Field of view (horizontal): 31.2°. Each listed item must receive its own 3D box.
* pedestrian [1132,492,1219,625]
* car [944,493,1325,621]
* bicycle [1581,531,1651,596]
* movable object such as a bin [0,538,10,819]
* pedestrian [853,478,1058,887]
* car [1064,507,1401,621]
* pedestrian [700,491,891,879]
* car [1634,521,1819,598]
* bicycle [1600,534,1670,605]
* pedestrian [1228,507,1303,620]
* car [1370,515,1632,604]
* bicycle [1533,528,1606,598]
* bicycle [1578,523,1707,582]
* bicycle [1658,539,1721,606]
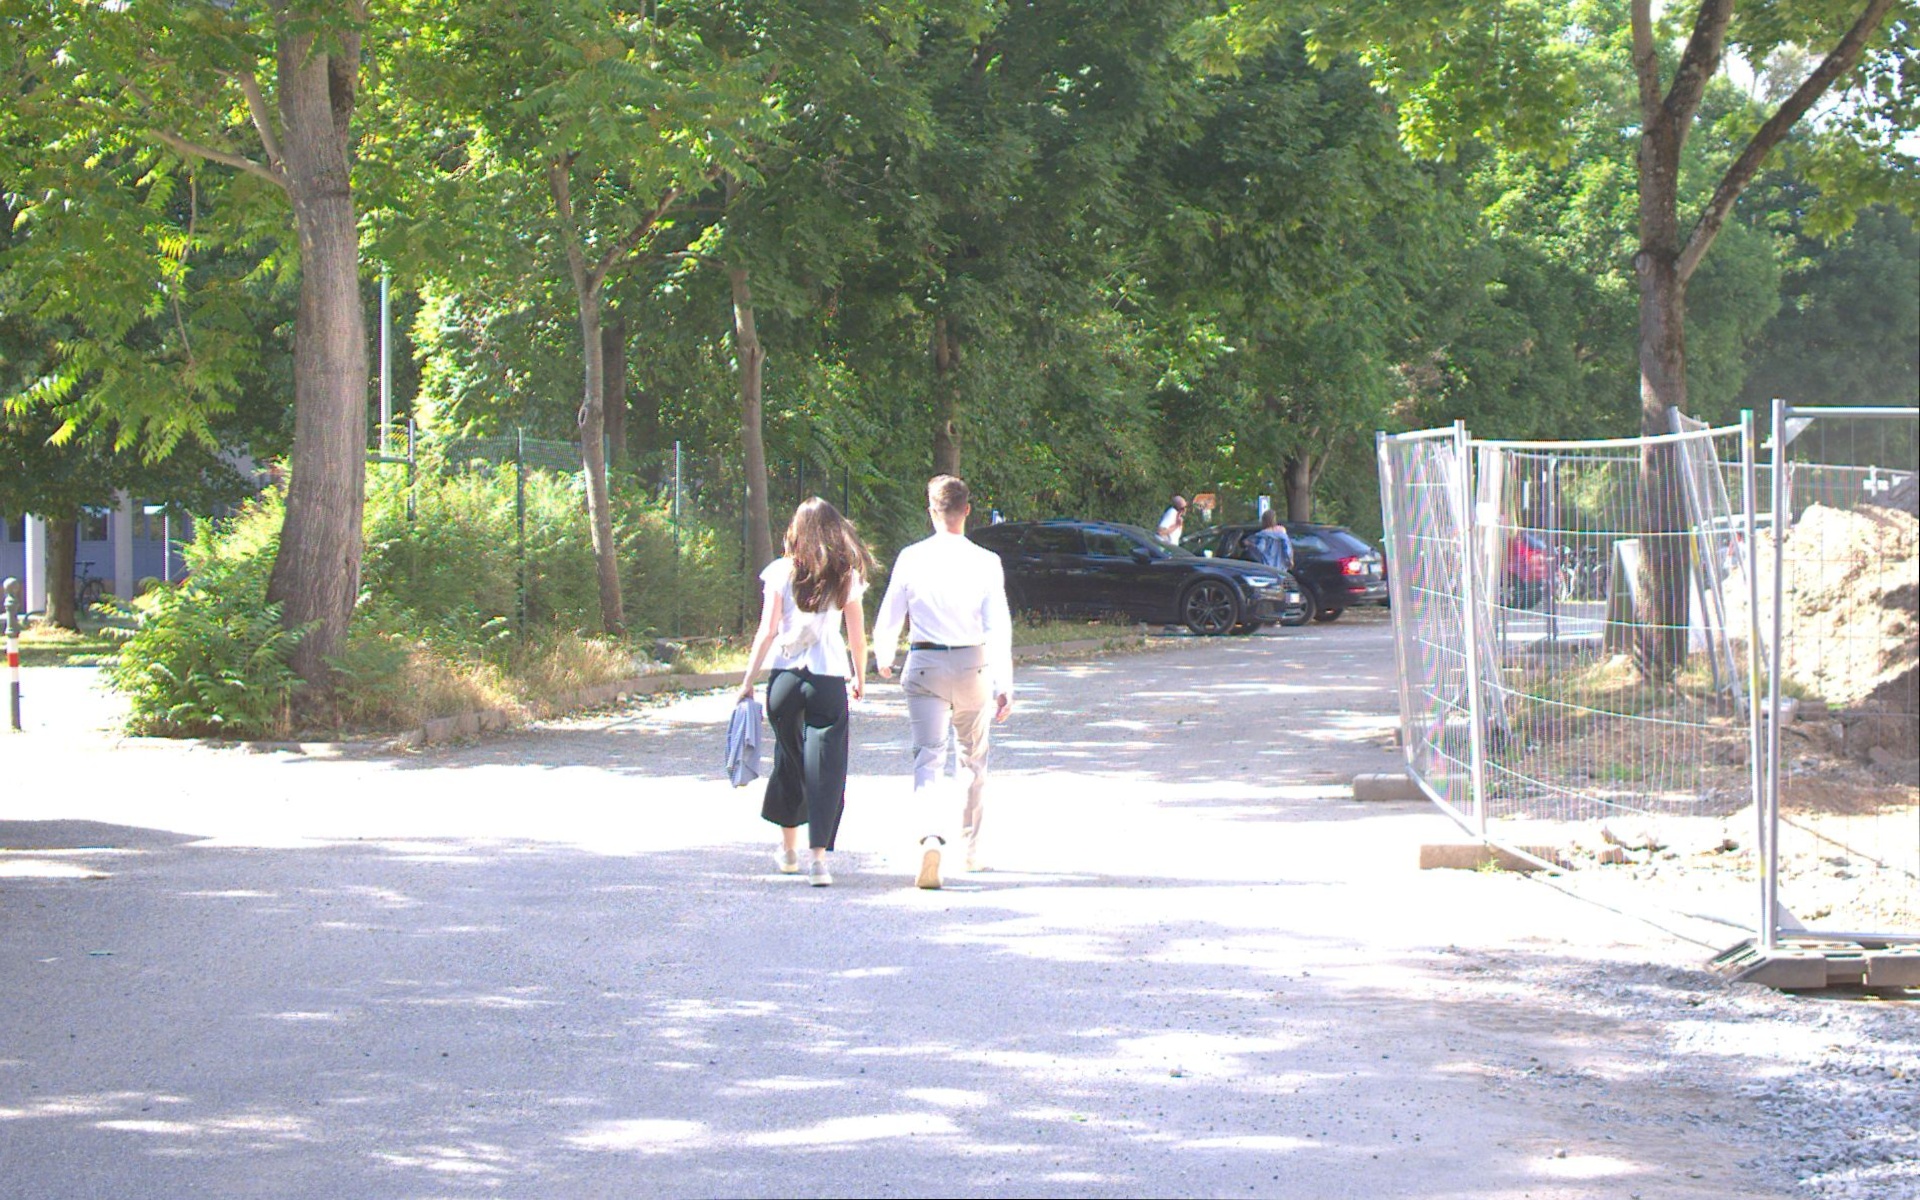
[{"bbox_3d":[2.906,-0.565,46.309,1.014,1.775,0.819,0,1,15],"label":"pedestrian"},{"bbox_3d":[2.299,-0.591,44.925,4.659,1.579,1.999,1,2,15],"label":"car"},{"bbox_3d":[13.354,-0.758,69.950,0.817,1.280,2.681,1,2,24],"label":"bicycle"},{"bbox_3d":[-5.650,0.392,17.034,1.403,1.392,1.245,1,2,42],"label":"movable object such as a bin"},{"bbox_3d":[-0.029,0.332,15.000,0.755,1.722,0.854,0,2,-10],"label":"pedestrian"},{"bbox_3d":[4.022,-0.549,50.586,4.659,1.579,1.999,1,2,15],"label":"car"},{"bbox_3d":[-0.725,0.346,14.984,0.735,1.634,0.781,0,2,-10],"label":"pedestrian"},{"bbox_3d":[18.248,-0.991,81.829,3.993,1.765,1.765,1,2,27],"label":"car"},{"bbox_3d":[12.589,-0.574,64.100,0.715,1.280,2.681,1,2,24],"label":"bicycle"},{"bbox_3d":[4.354,-0.527,48.978,0.925,1.589,0.785,1,2,16],"label":"pedestrian"},{"bbox_3d":[9.625,-0.740,61.169,4.291,1.519,1.890,1,2,22],"label":"car"},{"bbox_3d":[11.571,-0.720,65.205,0.715,1.280,2.787,1,2,24],"label":"bicycle"},{"bbox_3d":[14.883,-1.042,74.959,2.677,1.280,0.818,1,1,18],"label":"bicycle"},{"bbox_3d":[14.490,-0.564,68.234,0.715,1.280,2.634,1,2,24],"label":"bicycle"}]
